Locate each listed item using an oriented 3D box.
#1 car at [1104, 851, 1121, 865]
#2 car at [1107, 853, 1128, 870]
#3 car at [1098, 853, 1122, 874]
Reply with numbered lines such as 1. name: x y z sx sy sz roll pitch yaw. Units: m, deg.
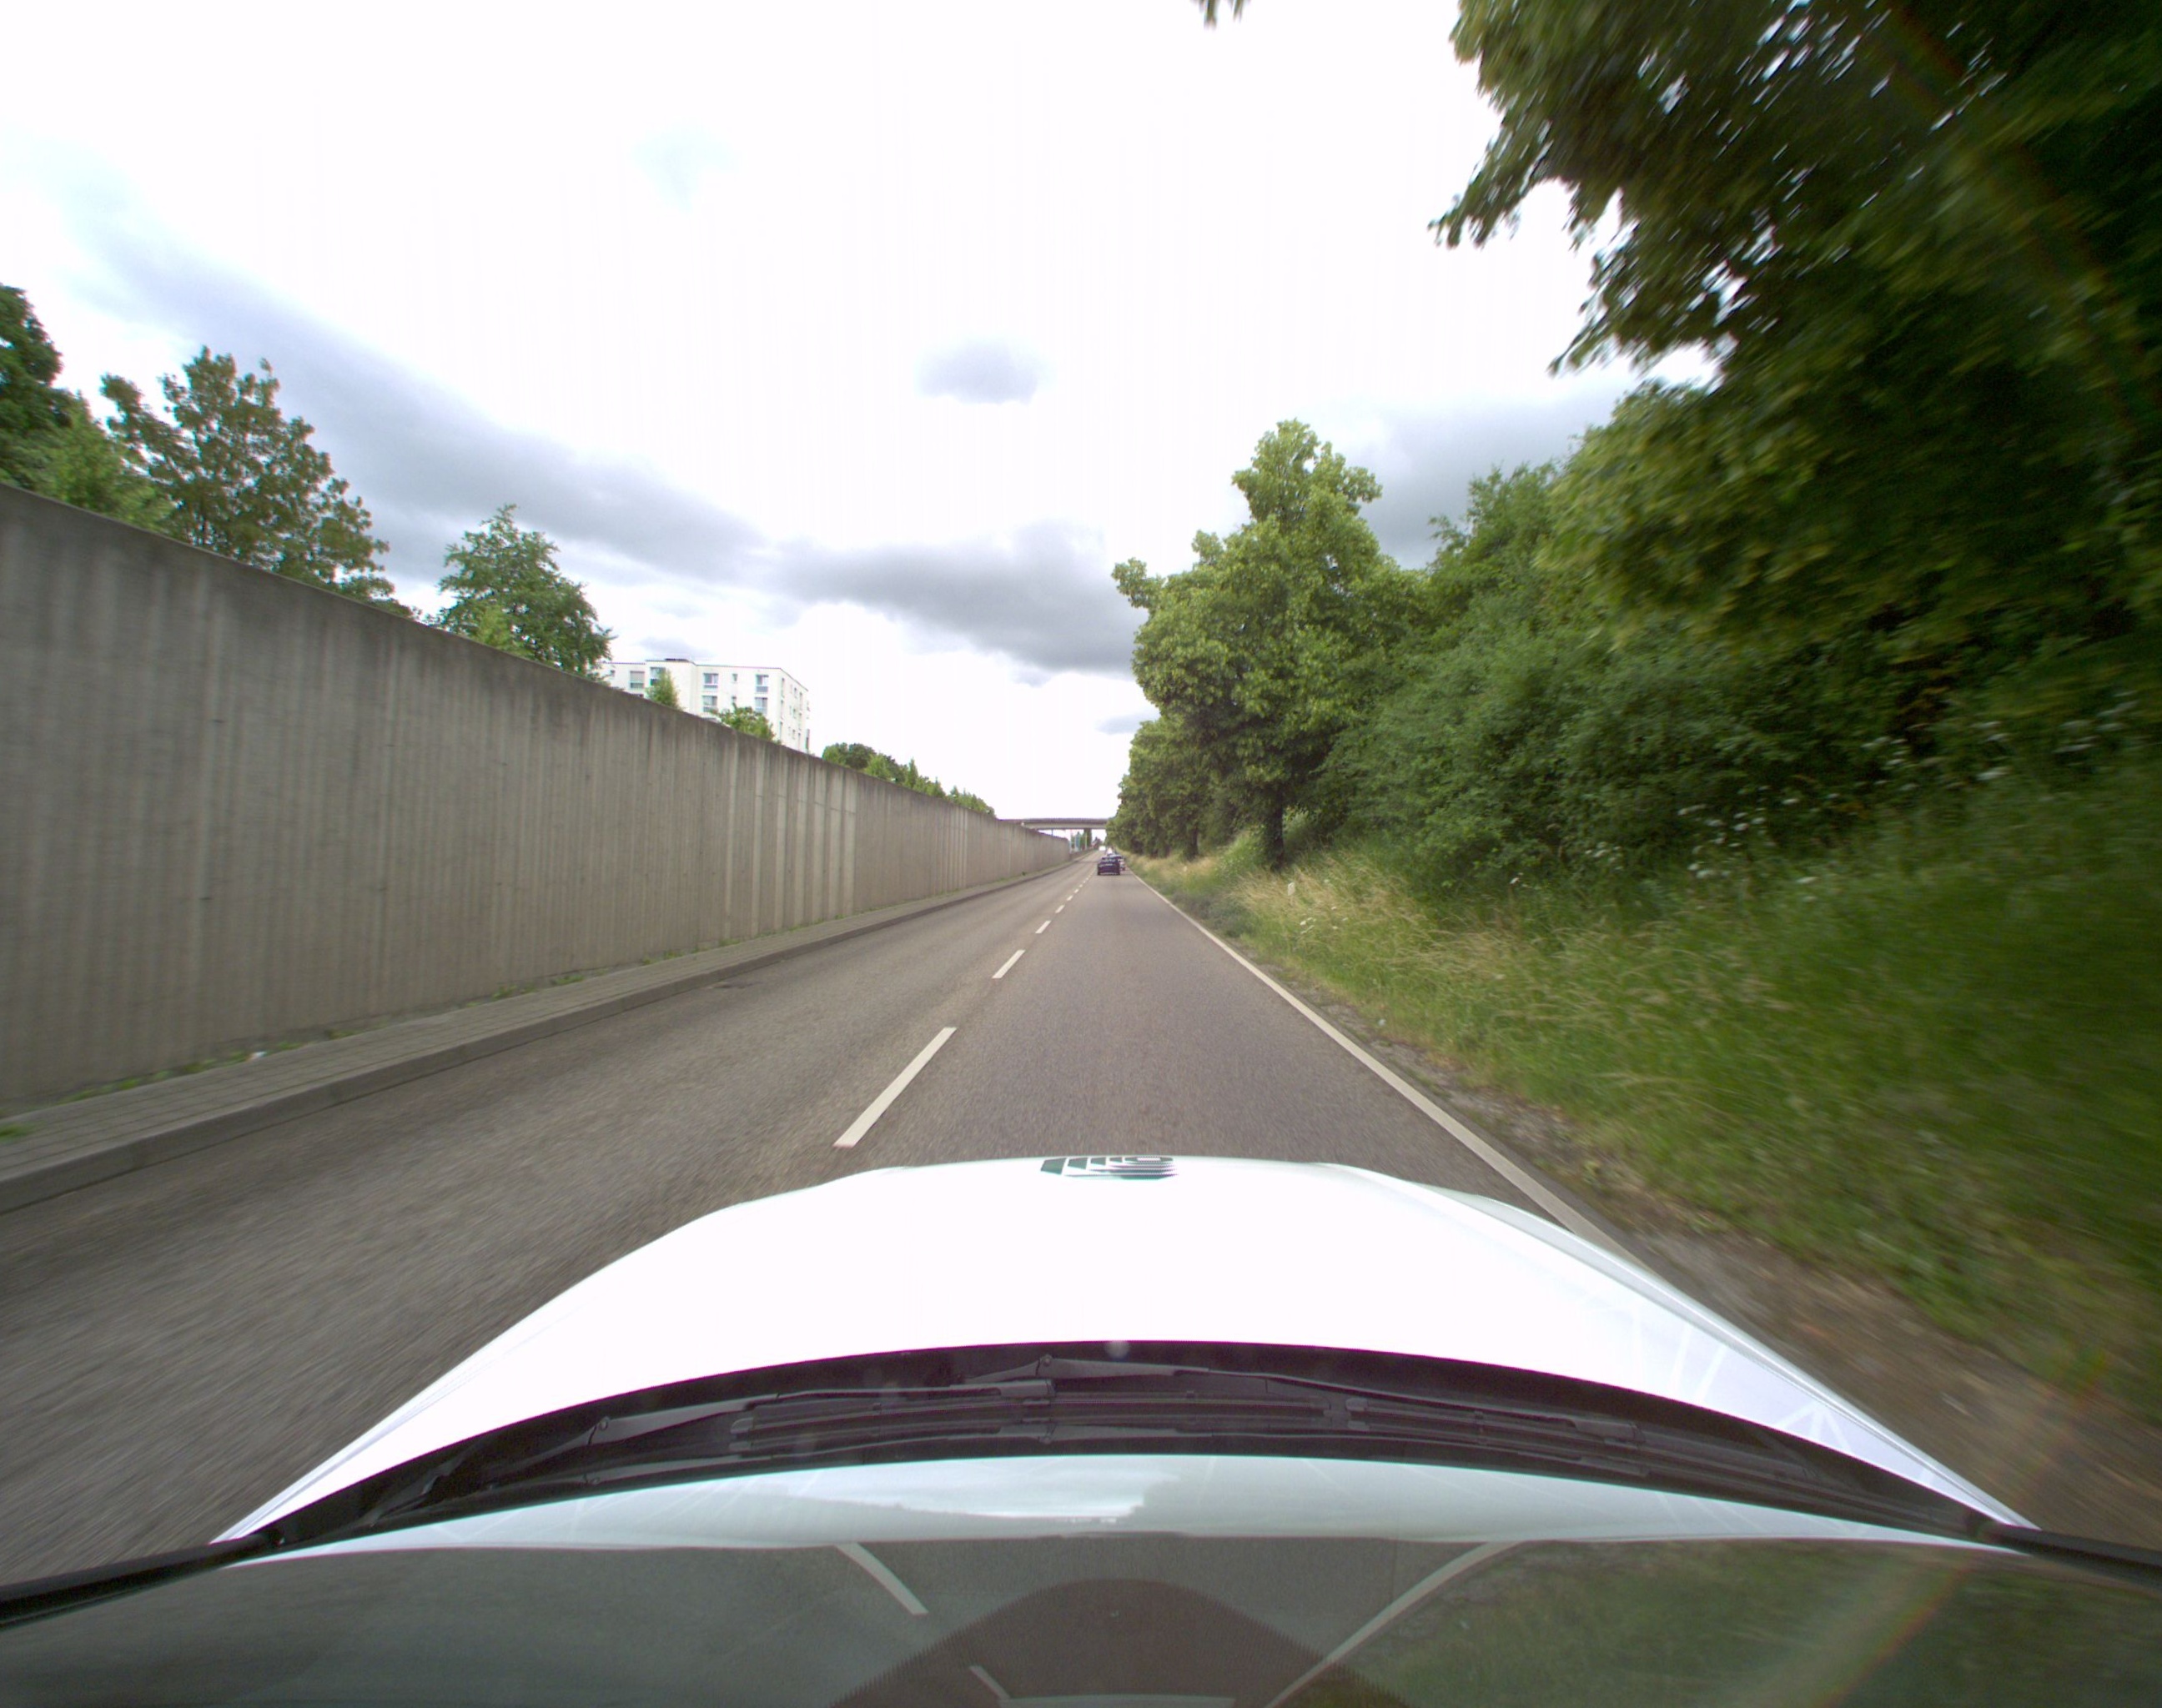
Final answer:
1. car: 3.803 0.469 98.551 1.860 1.490 4.256 3 0 0
2. car: 3.473 0.738 78.035 1.748 1.523 4.037 -2 -1 1
3. car: 2.197 0.684 62.755 1.748 1.523 4.038 -2 0 1
